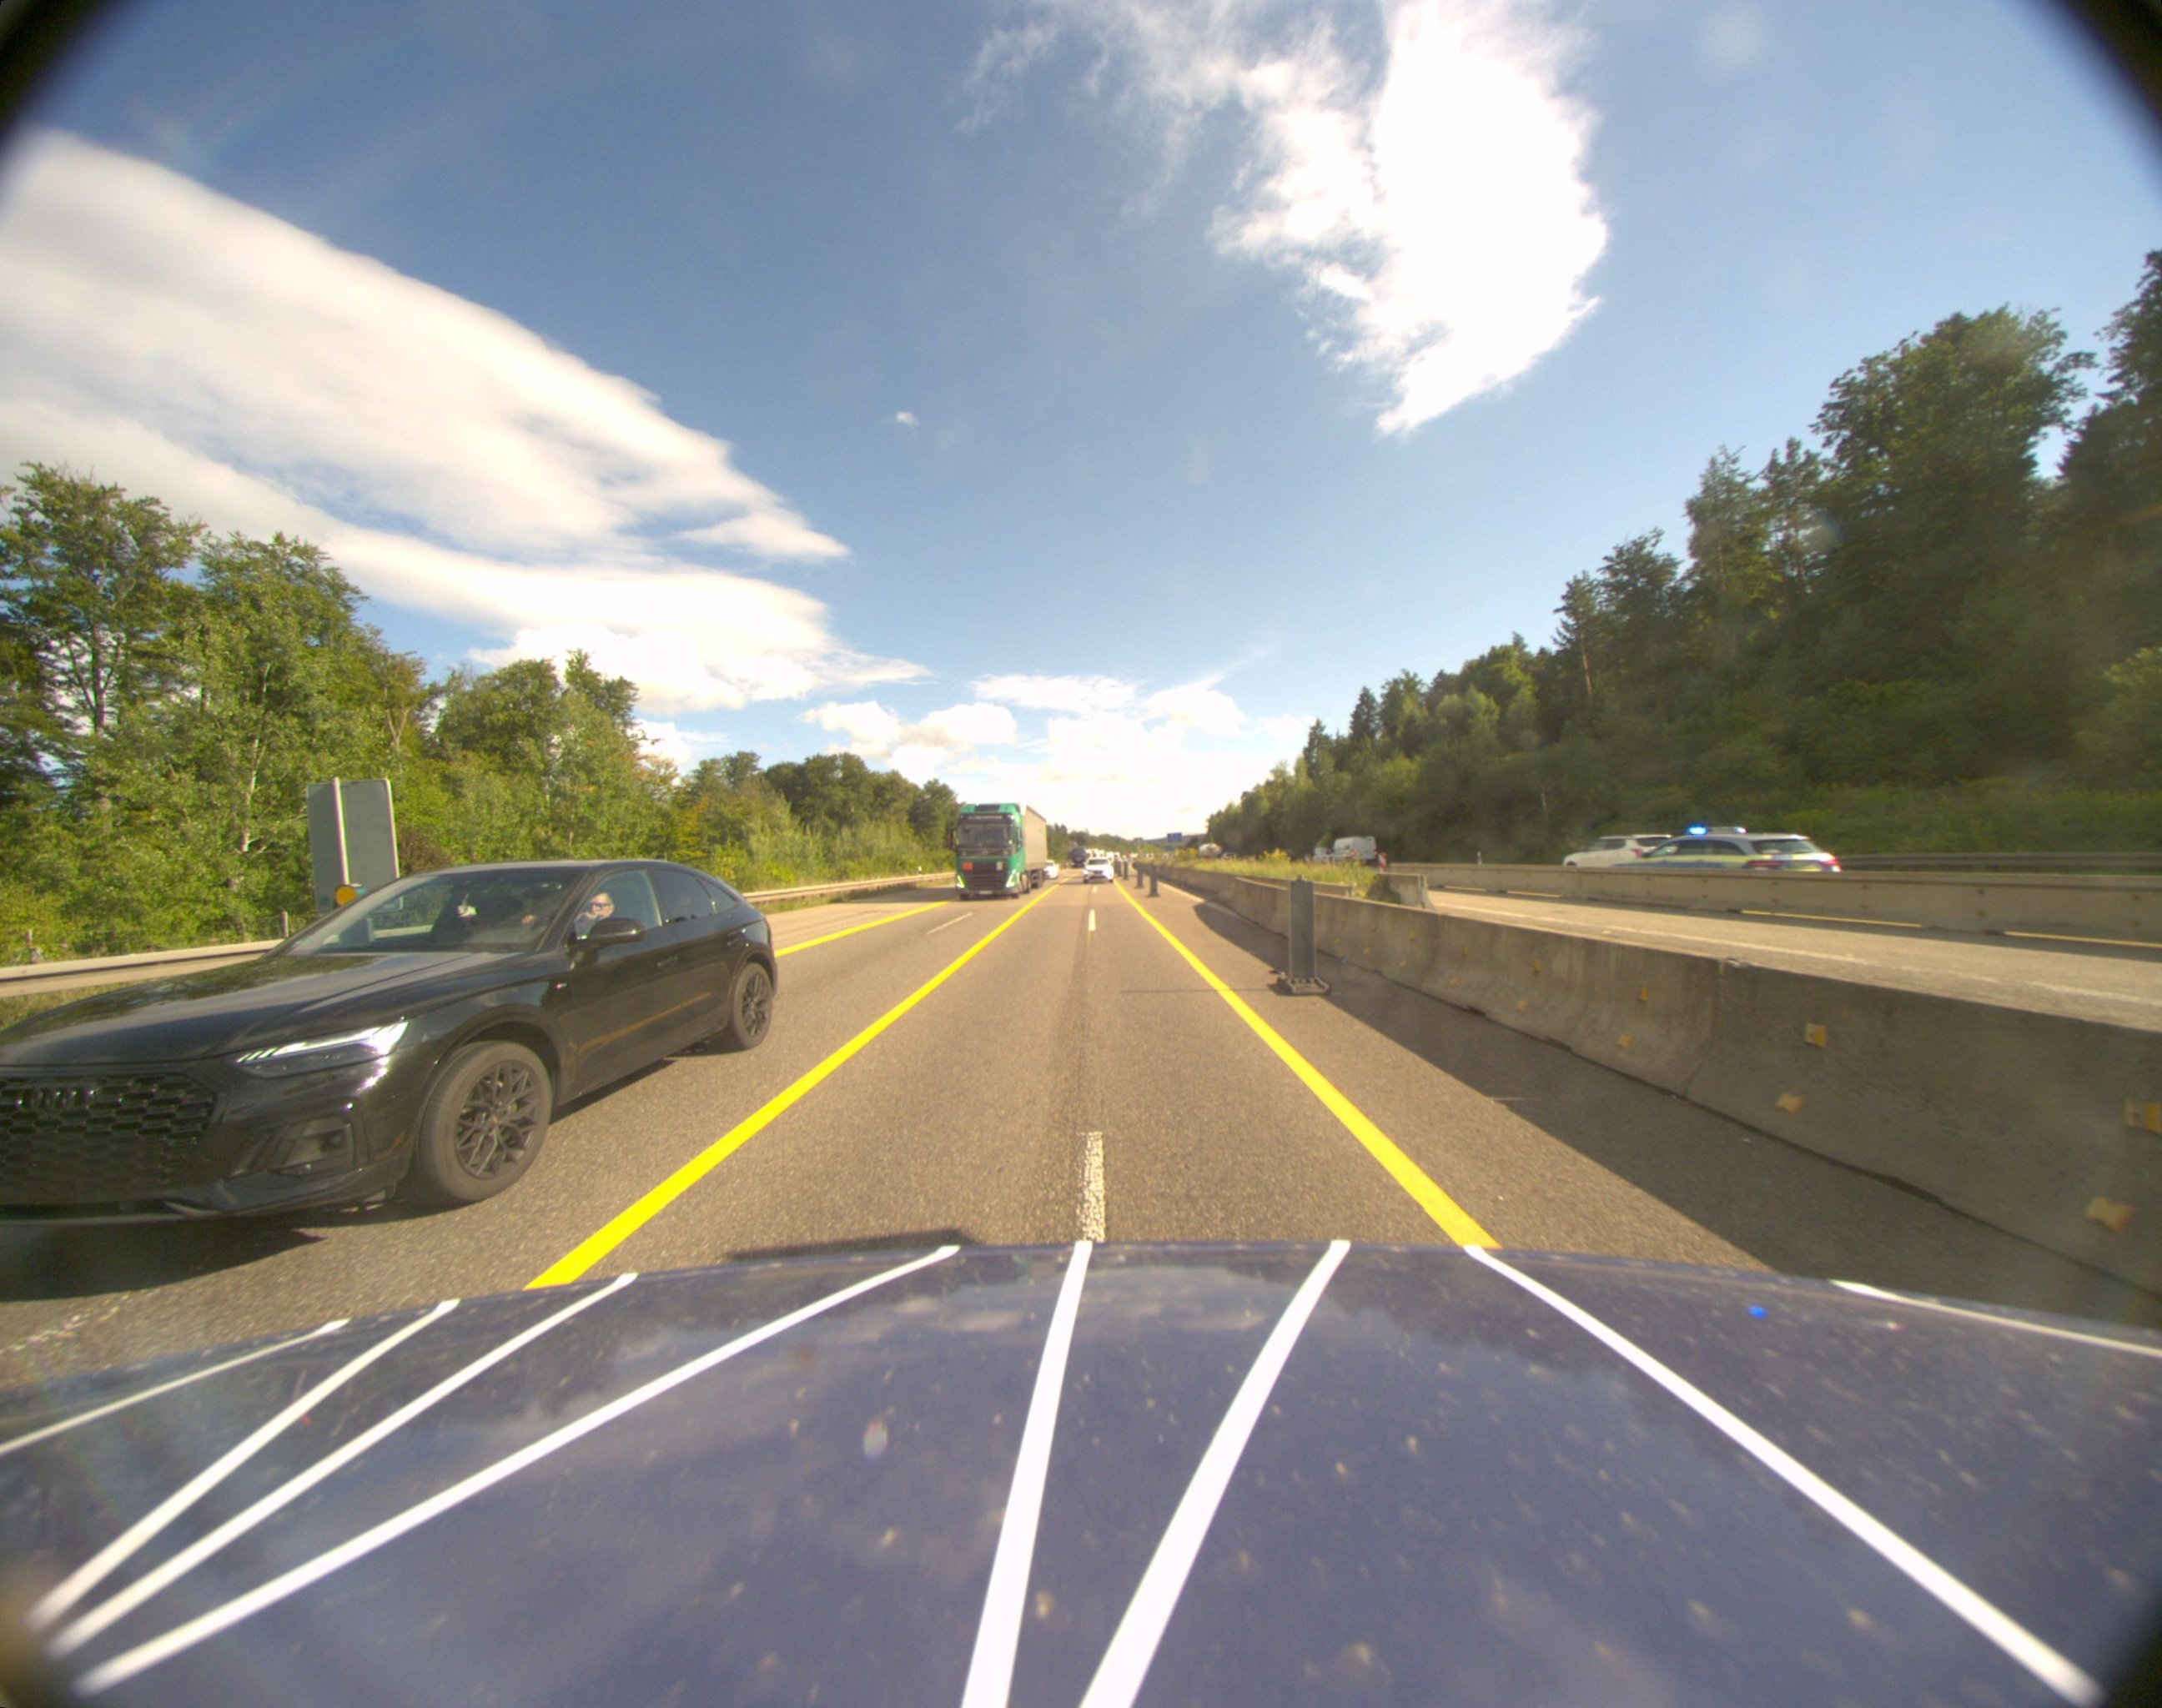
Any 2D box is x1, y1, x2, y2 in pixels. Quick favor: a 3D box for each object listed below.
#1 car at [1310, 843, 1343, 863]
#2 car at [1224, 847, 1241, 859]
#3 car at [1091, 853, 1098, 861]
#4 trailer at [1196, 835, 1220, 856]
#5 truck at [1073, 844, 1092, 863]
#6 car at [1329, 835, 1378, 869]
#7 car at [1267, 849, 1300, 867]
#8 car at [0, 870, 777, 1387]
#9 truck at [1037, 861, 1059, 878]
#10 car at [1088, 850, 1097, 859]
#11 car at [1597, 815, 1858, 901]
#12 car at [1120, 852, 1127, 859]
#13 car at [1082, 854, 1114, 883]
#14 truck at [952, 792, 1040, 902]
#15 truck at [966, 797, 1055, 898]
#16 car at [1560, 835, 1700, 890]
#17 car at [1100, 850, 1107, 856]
[{"bbox_3d":[24.403,-0.096,75.693,1.865,1.843,4.762,-2,0,2],"label":"car"},{"bbox_3d":[21.095,-0.147,105.921,1.782,1.593,4.018,-2,0,2],"label":"car"},{"bbox_3d":[3.383,0.744,188.021,1.750,1.787,4.000,-2,0,2],"label":"car"},{"bbox_3d":[22.942,-1.529,137.638,2.808,3.469,11.113,-2,0,2],"label":"trailer"},{"bbox_3d":[0.320,-0.046,133.578,2.576,3.167,6.804,-2,0,5],"label":"truck"},{"bbox_3d":[23.380,-0.204,65.509,2.033,2.669,6.523,-2,0,2],"label":"car"},{"bbox_3d":[19.260,0.375,72.534,1.963,1.579,4.482,-2,0,1],"label":"car"},{"bbox_3d":[-3.649,0.982,4.686,1.782,1.593,4.293,-2,0,0],"label":"car"},{"bbox_3d":[-2.544,1.194,58.947,1.467,1.215,3.087,-2,0,0],"label":"truck"},{"bbox_3d":[2.479,0.062,163.030,1.750,1.787,4.000,-2,0,2],"label":"car"},{"bbox_3d":[14.056,0.069,16.982,1.782,1.593,4.676,-2,0,0],"label":"car"},{"bbox_3d":[13.483,0.502,238.468,1.998,2.002,4.001,-2,0,4],"label":"car"},{"bbox_3d":[1.059,0.821,46.088,1.782,1.593,4.018,-2,0,2],"label":"car"},{"bbox_3d":[-3.425,-0.287,32.333,2.527,4.075,6.857,-2,0,2],"label":"truck"},{"bbox_3d":[-3.181,-0.233,38.661,2.470,4.119,14.213,-2,0,2],"label":"truck"},{"bbox_3d":[17.840,0.241,24.960,1.782,1.593,4.018,-2,0,2],"label":"car"},{"bbox_3d":[6.577,-0.319,221.325,1.750,1.787,4.000,-2,0,2],"label":"car"}]
